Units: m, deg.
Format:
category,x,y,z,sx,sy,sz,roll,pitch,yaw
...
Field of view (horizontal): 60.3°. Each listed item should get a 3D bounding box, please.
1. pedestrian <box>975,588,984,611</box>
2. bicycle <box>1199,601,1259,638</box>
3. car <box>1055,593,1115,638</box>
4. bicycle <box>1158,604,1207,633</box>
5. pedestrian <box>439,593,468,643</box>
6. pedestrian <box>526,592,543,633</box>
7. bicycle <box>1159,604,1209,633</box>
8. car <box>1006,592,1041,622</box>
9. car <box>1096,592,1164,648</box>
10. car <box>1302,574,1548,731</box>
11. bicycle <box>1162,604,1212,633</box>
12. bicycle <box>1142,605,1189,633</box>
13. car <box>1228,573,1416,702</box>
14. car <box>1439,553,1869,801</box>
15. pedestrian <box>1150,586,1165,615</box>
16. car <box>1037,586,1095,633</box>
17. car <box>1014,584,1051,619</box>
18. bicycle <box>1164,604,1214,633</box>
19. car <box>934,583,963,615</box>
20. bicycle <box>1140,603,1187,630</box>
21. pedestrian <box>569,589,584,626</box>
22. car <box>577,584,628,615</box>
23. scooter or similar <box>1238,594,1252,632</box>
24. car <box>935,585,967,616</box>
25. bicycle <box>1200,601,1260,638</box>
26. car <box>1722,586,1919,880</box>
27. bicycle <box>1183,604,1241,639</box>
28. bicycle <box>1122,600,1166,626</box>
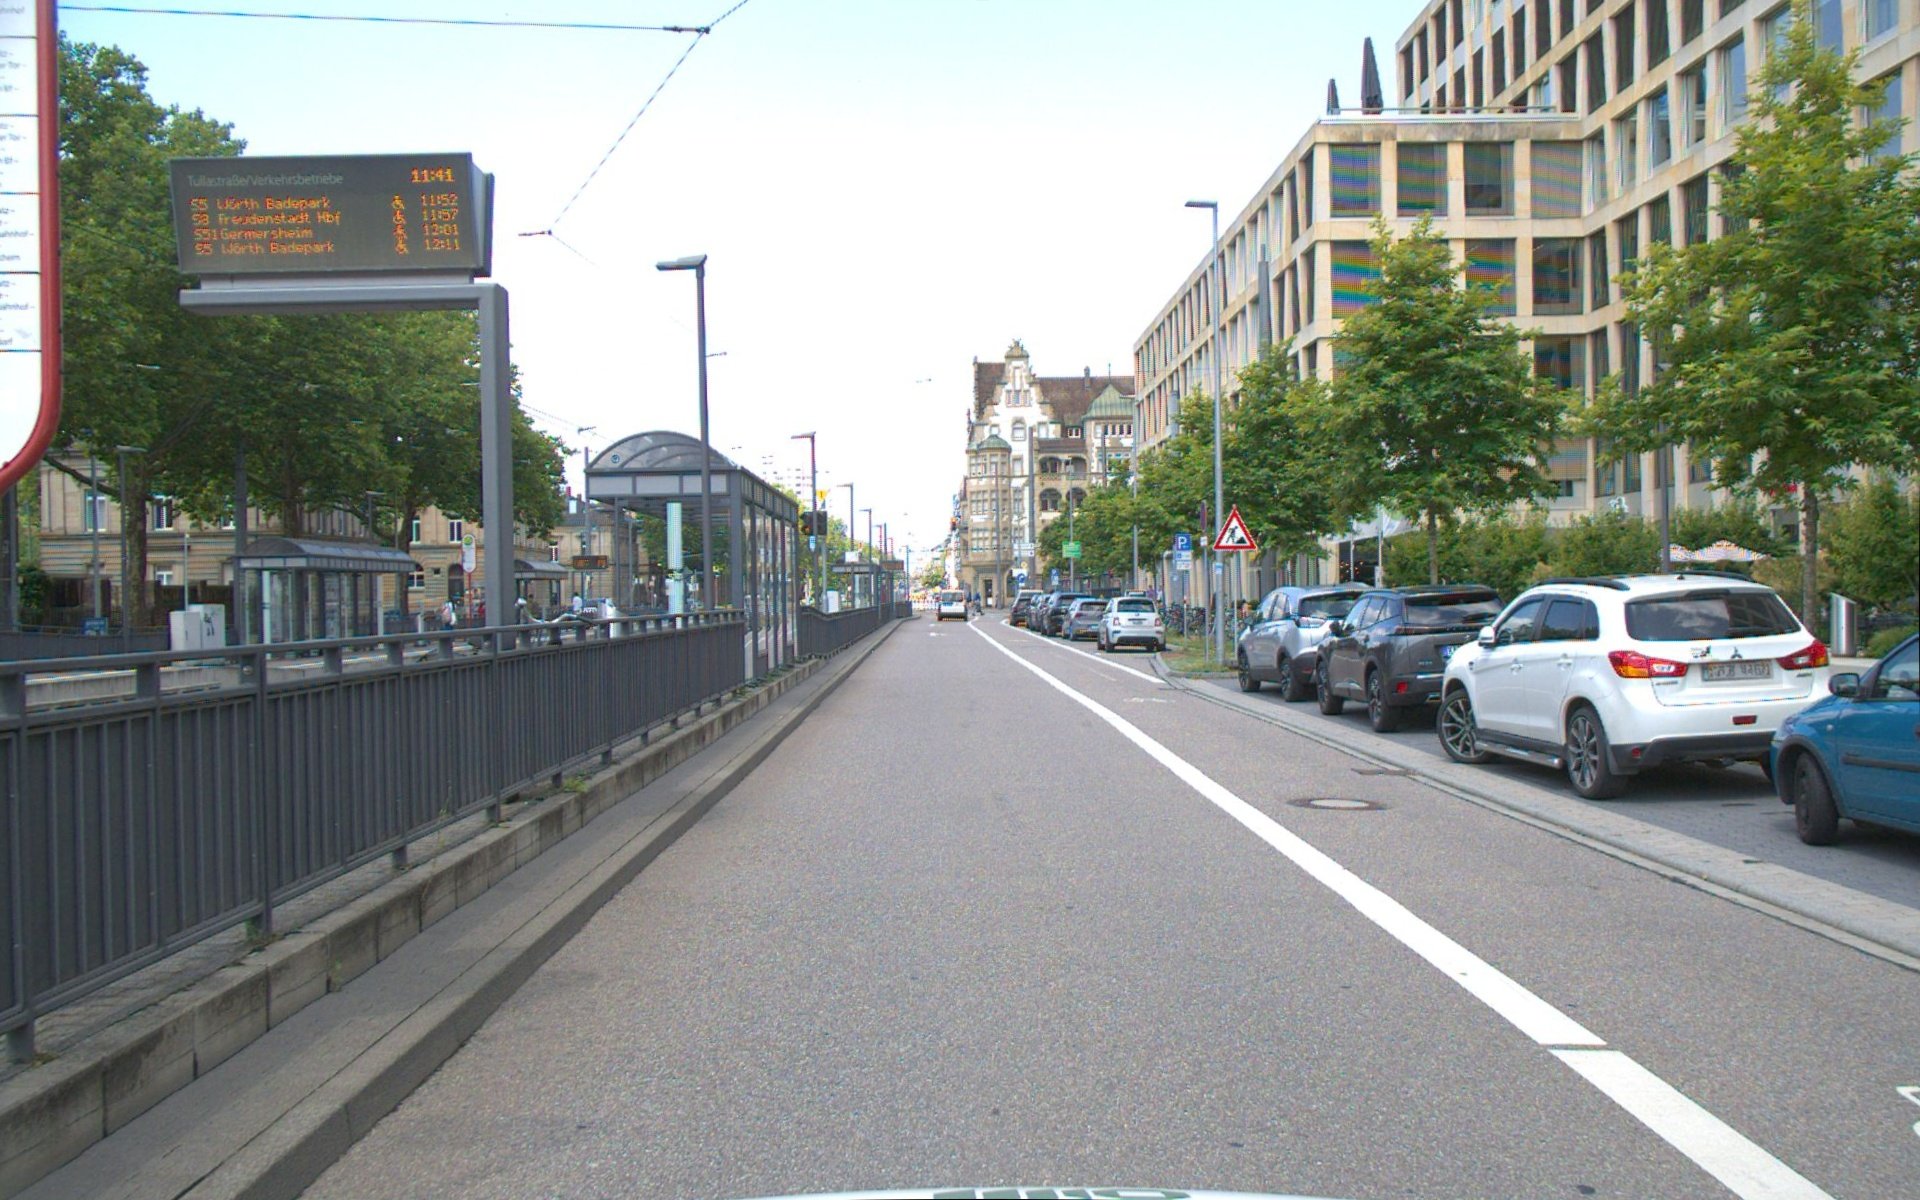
category,x,y,z,sx,sy,sz,roll,pitch,yaw
pedestrian,1.397,-0.029,120.193,0.523,1.599,0.542,-3,0,-3
bicycle,8.293,0.612,51.010,1.785,1.094,0.275,-1,0,3
car,4.289,0.506,57.333,1.559,1.459,4.105,1,0,-3
bicycle,8.097,0.660,60.253,1.717,1.003,0.325,-2,0,-2
pedestrian,-16.013,0.560,52.327,0.688,1.539,0.802,-2,0,-5
pedestrian,-16.807,0.496,65.345,0.490,1.585,0.643,-1,0,-1
bicycle,8.107,0.659,59.905,1.717,1.003,0.325,-2,0,-2
car,3.205,0.337,84.155,1.414,1.496,4.090,1,0,-3
car,4.731,0.533,46.357,1.558,1.486,3.613,0,0,0
car,5.287,0.543,19.313,1.651,1.575,3.925,-2,0,-1
bicycle,8.162,0.658,59.546,1.717,1.003,0.325,-2,0,-2
bicycle,8.066,0.732,65.060,1.785,1.048,0.432,-1,0,2
car,5.280,0.504,24.628,1.652,1.662,3.988,-3,0,-3
car,5.386,0.523,13.470,1.651,1.634,4.151,-2,0,-1
pedestrian,11.800,0.031,98.726,0.745,1.699,0.659,-1,0,-2
car,4.012,0.332,63.310,1.703,1.698,4.838,1,0,-3
car,3.875,0.089,89.160,1.675,1.828,3.360,1,0,-3
bicycle,8.204,0.657,59.205,1.717,1.003,0.325,-2,0,-2
car,-0.778,-0.067,108.698,1.831,2.056,3.999,0,0,-2
bicycle,8.111,0.665,65.858,1.785,1.048,0.584,-1,0,2
pedestrian,-17.705,0.340,76.355,0.490,1.713,0.643,-2,0,-1
car,-20.758,-0.033,96.213,1.953,1.734,4.819,-1,0,-1
scooter or similar,9.583,0.431,55.593,0.253,1.237,1.015,-1,0,-1
car,-0.547,0.014,98.814,1.831,1.777,3.999,0,0,-2
bicycle,8.285,0.606,50.709,1.785,1.094,0.275,-1,0,3
car,5.793,0.678,8.692,1.651,1.483,3.950,-2,0,-1
bicycle,8.119,0.696,53.339,1.785,1.094,0.686,-1,0,3
bicycle,7.949,0.570,71.576,1.802,1.048,0.339,-3,0,-3
